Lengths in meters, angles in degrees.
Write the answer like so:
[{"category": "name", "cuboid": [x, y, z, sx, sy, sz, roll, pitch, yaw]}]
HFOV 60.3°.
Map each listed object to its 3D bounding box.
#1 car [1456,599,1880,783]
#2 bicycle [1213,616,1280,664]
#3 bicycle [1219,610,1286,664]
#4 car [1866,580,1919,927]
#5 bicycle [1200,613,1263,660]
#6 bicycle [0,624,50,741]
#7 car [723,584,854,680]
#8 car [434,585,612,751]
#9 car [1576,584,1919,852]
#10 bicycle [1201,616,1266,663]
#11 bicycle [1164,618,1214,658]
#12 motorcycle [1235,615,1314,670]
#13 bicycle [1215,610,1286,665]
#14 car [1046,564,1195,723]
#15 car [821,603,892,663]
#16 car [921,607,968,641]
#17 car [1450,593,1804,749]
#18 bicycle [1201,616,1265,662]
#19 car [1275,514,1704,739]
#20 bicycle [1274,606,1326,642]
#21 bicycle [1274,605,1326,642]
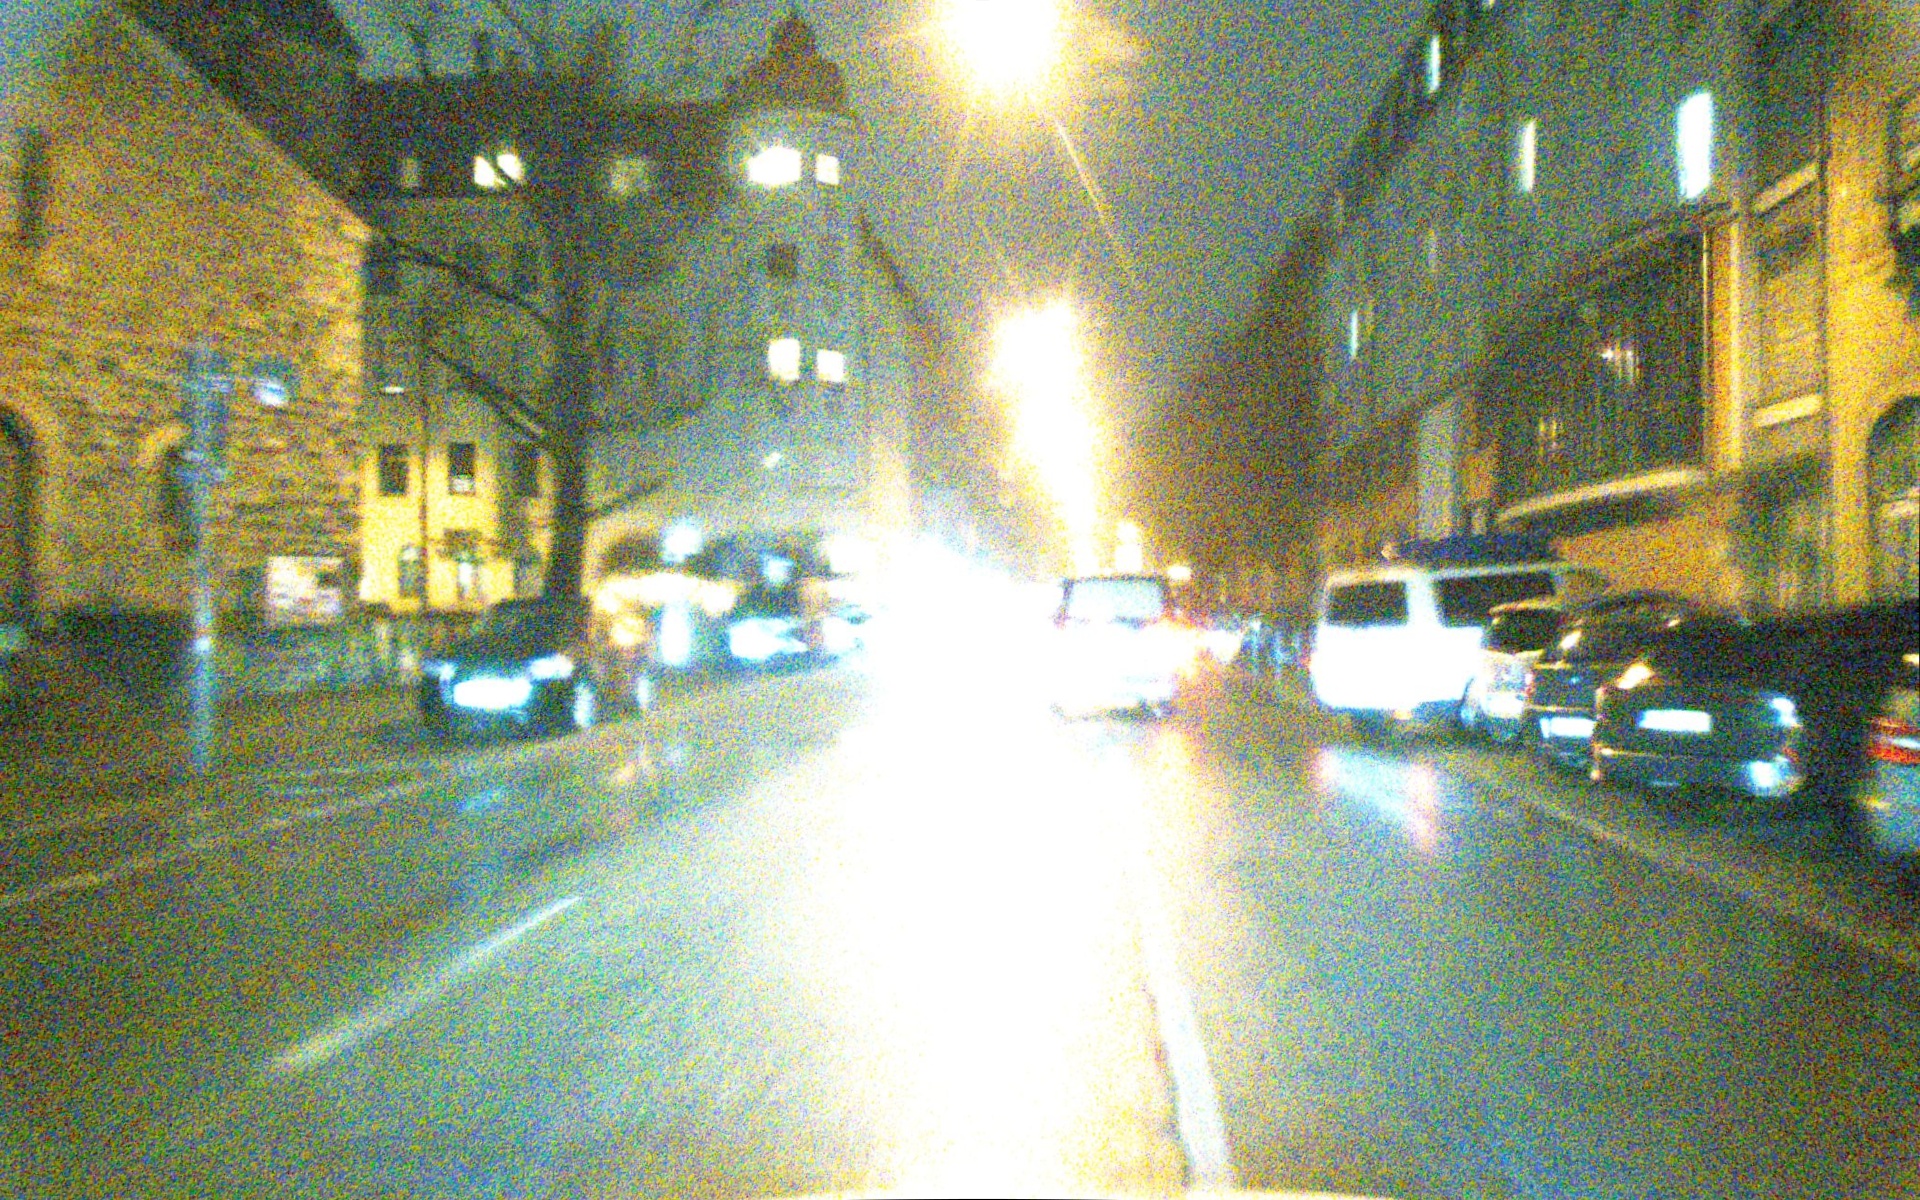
[{"category": "car", "cuboid": [6.474, 0.747, 15.082, 3.674, 1.494, 1.599, 0, 0, -27]}, {"category": "bicycle", "cuboid": [7.042, 0.978, 40.694, 1.562, 1.131, 0.418, -1, 0, 1]}, {"category": "bicycle", "cuboid": [7.007, 0.884, 39.638, 1.546, 1.256, 0.418, -1, 0, 7]}, {"category": "car", "cuboid": [6.142, 0.689, 8.028, 3.466, 1.588, 1.577, 0, -1, -32]}, {"category": "bicycle", "cuboid": [7.096, 0.946, 43.228, 1.561, 1.178, 0.540, -1, 0, 12]}, {"category": "bicycle", "cuboid": [-10.710, 0.871, 17.772, 1.924, 1.201, 0.541, -1, -1, 22]}, {"category": "car", "cuboid": [-3.525, 0.638, 34.869, 1.827, 1.878, 4.830, 0, 0, 5]}, {"category": "car", "cuboid": [-5.114, 0.697, 19.336, 1.782, 1.699, 4.393, 0, 0, -15]}, {"category": "car", "cuboid": [6.416, 0.698, 11.489, 3.988, 1.588, 1.737, 0, 0, -25]}, {"category": "bicycle", "cuboid": [6.878, 0.986, 41.593, 1.562, 1.178, 0.418, 0, -1, 1]}, {"category": "bicycle", "cuboid": [5.599, 0.937, 40.431, 1.186, 0.964, 0.302, 0, -1, 1]}, {"category": "motorcycle", "cuboid": [7.046, 0.943, 37.067, 1.600, 1.143, 0.652, -2, 0, -3]}, {"category": "bicycle", "cuboid": [6.867, 0.881, 39.129, 1.629, 1.256, 0.386, -1, 0, 7]}, {"category": "car", "cuboid": [2.301, 0.614, 24.038, 1.951, 2.086, 4.002, 1, -1, 5]}, {"category": "car", "cuboid": [-2.794, 0.851, 44.026, 1.518, 1.468, 3.555, 2, 0, -9]}, {"category": "car", "cuboid": [-0.645, 1.005, 70.023, 1.619, 1.383, 4.224, 1, 0, 4]}, {"category": "car", "cuboid": [7.073, 0.688, 17.533, 3.399, 1.494, 1.617, 0, 0, -25]}, {"category": "bicycle", "cuboid": [6.940, 0.989, 42.039, 1.562, 1.178, 0.418, 0, -1, 1]}, {"category": "car", "cuboid": [6.351, 0.280, 19.732, 4.874, 2.382, 2.209, 0, -1, -30]}, {"category": "bicycle", "cuboid": [11.817, 0.819, 57.546, 1.652, 1.166, 0.485, -3, 0, -4]}, {"category": "bicycle", "cuboid": [11.721, 0.813, 57.017, 1.652, 1.166, 0.428, -3, 0, -4]}]
